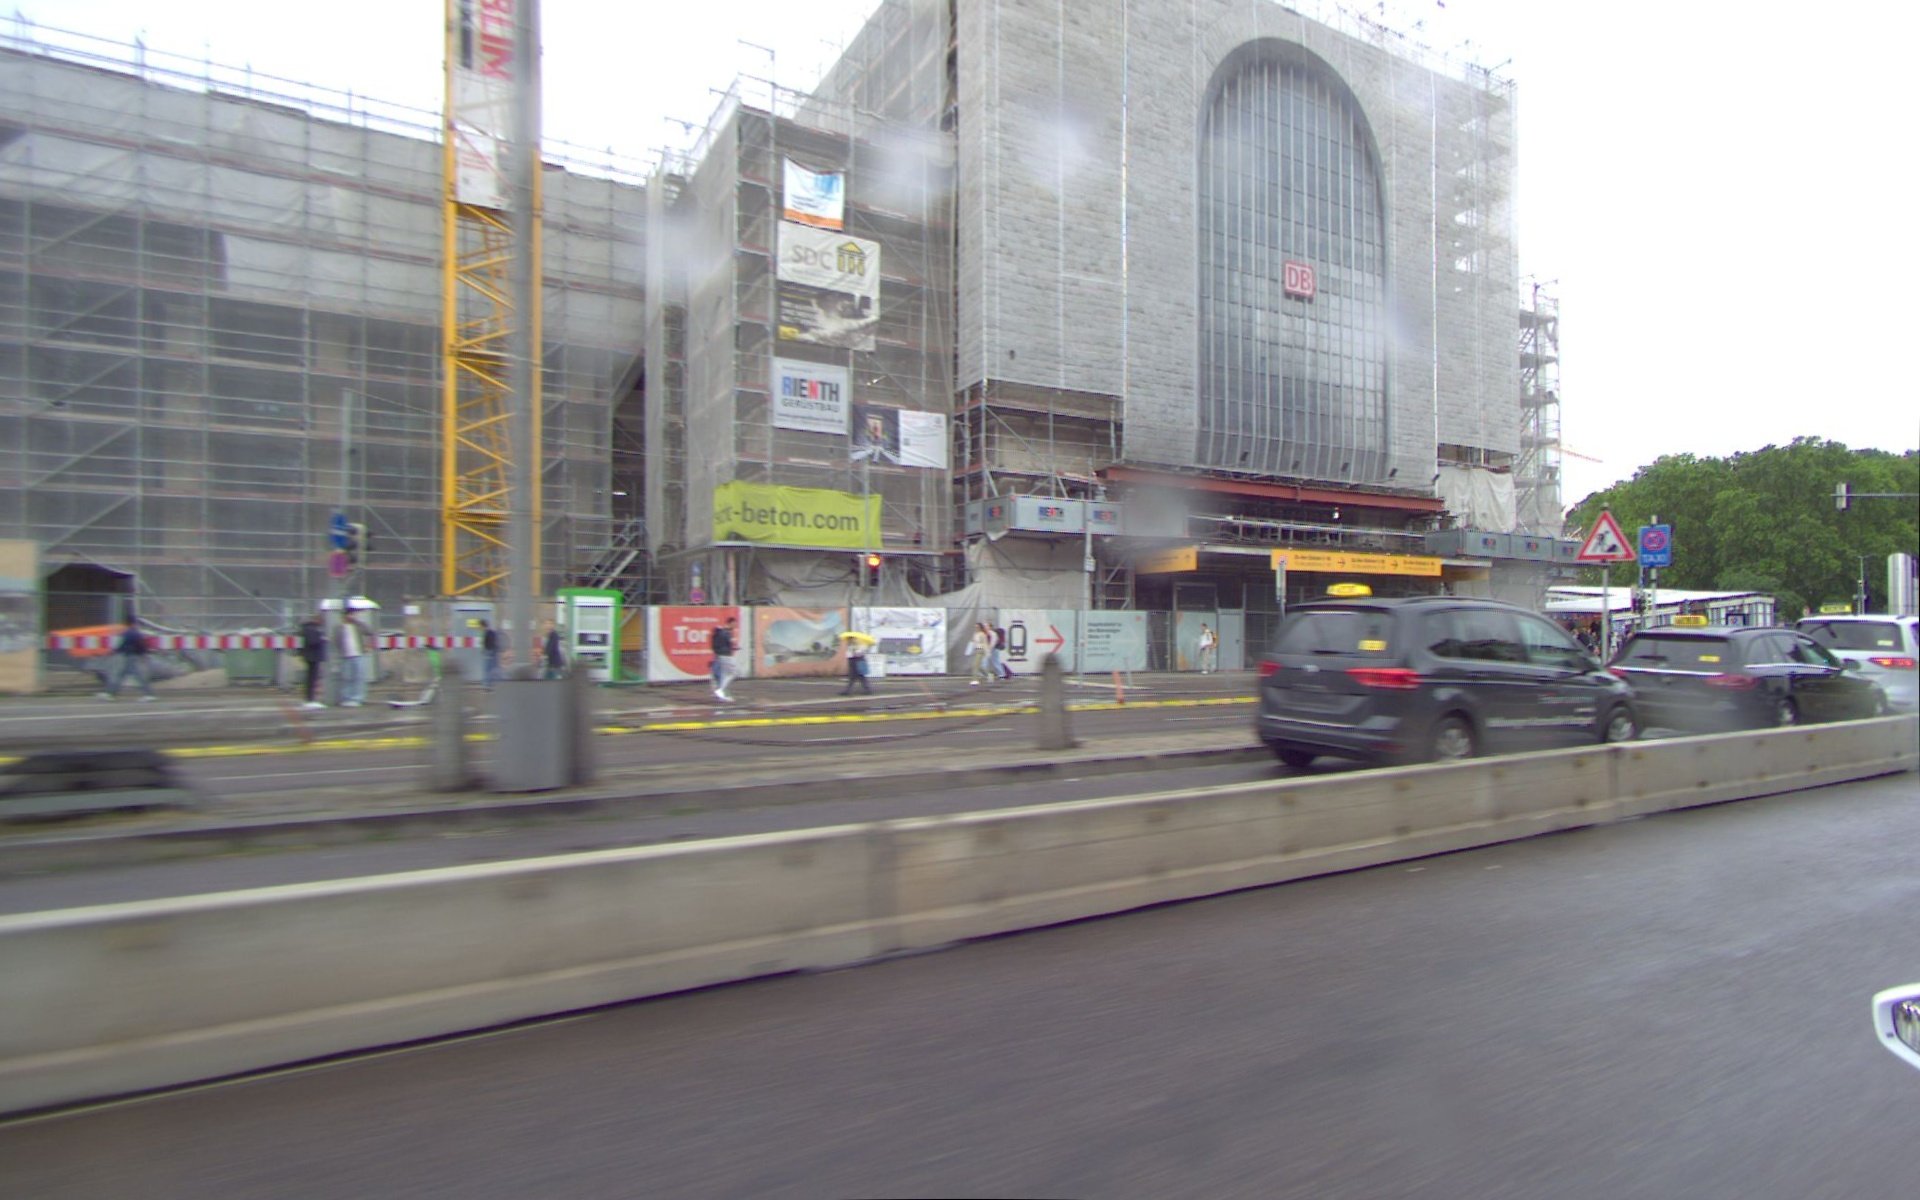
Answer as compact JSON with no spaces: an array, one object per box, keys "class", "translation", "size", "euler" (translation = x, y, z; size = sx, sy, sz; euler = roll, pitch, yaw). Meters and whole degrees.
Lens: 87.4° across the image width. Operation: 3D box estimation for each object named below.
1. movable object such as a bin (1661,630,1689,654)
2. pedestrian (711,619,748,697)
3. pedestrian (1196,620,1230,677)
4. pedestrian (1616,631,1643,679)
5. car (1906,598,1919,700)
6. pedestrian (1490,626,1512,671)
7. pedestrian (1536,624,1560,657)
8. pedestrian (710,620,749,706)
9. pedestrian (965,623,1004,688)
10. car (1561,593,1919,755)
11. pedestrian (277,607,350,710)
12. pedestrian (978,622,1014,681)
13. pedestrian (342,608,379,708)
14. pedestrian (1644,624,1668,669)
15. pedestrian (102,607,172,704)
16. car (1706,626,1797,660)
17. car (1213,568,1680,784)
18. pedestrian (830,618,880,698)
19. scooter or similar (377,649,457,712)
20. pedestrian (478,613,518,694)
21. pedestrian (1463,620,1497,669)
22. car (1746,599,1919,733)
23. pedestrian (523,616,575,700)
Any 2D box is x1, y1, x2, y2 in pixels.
[{"class":"movable object such as a bin","translation":[30.271,1.770,42.541],"size":[0.713,0.983,0.755],"euler":[1,-2,-32]},{"class":"pedestrian","translation":[-5.653,1.404,24.644],"size":[0.699,1.865,0.565],"euler":[1,-1,-44]},{"class":"pedestrian","translation":[8.486,1.604,33.709],"size":[0.829,1.865,0.763],"euler":[1,-1,-43]},{"class":"pedestrian","translation":[26.376,2.164,39.577],"size":[0.766,1.865,0.635],"euler":[1,-1,-31]},{"class":"car","translation":[19.596,0.897,18.485],"size":[4.793,1.810,1.983],"euler":[1,-2,-31]},{"class":"pedestrian","translation":[22.785,2.024,42.305],"size":[0.715,1.865,0.668],"euler":[1,-1,-43]},{"class":"pedestrian","translation":[35.002,2.413,59.765],"size":[0.829,1.906,1.016],"euler":[2,-3,-39]},{"class":"pedestrian","translation":[-5.096,1.372,22.236],"size":[0.697,1.865,0.504],"euler":[1,-1,-36]},{"class":"pedestrian","translation":[0.664,1.497,27.380],"size":[0.833,1.708,0.675],"euler":[1,-1,-44]},{"class":"car","translation":[10.115,0.864,12.930],"size":[4.998,1.734,2.039],"euler":[1,-2,-32]},{"class":"pedestrian","translation":[-11.877,1.061,18.466],"size":[0.860,1.865,0.704],"euler":[0,-1,-1]},{"class":"pedestrian","translation":[1.025,1.453,28.663],"size":[0.828,1.635,0.674],"euler":[1,-1,-27]},{"class":"pedestrian","translation":[-11.367,1.092,19.060],"size":[0.500,1.865,0.339],"euler":[1,-1,-14]},{"class":"pedestrian","translation":[29.420,1.951,42.457],"size":[0.522,1.865,0.694],"euler":[1,-1,-32]},{"class":"pedestrian","translation":[-16.131,1.070,19.708],"size":[0.856,1.865,0.800],"euler":[1,-1,-26]},{"class":"car","translation":[36.410,1.974,46.197],"size":[3.953,1.487,1.984],"euler":[2,-1,-30]},{"class":"car","translation":[4.856,0.658,9.859],"size":[4.589,1.675,1.983],"euler":[1,-2,-32]},{"class":"pedestrian","translation":[-2.511,1.377,24.097],"size":[0.833,1.865,0.866],"euler":[1,-1,-43]},{"class":"scooter or similar","translation":[-9.786,1.444,18.116],"size":[1.215,1.080,0.460],"euler":[0,-1,5]},{"class":"pedestrian","translation":[-10.942,1.243,23.795],"size":[0.839,1.865,0.800],"euler":[1,-1,-26]},{"class":"pedestrian","translation":[20.328,1.735,39.262],"size":[0.926,1.865,0.814],"euler":[1,-1,-30]},{"class":"car","translation":[14.376,0.962,15.666],"size":[4.405,1.810,1.983],"euler":[1,-2,-32]},{"class":"pedestrian","translation":[-9.419,1.307,23.001],"size":[1.044,1.865,0.836],"euler":[1,-1,-26]}]
